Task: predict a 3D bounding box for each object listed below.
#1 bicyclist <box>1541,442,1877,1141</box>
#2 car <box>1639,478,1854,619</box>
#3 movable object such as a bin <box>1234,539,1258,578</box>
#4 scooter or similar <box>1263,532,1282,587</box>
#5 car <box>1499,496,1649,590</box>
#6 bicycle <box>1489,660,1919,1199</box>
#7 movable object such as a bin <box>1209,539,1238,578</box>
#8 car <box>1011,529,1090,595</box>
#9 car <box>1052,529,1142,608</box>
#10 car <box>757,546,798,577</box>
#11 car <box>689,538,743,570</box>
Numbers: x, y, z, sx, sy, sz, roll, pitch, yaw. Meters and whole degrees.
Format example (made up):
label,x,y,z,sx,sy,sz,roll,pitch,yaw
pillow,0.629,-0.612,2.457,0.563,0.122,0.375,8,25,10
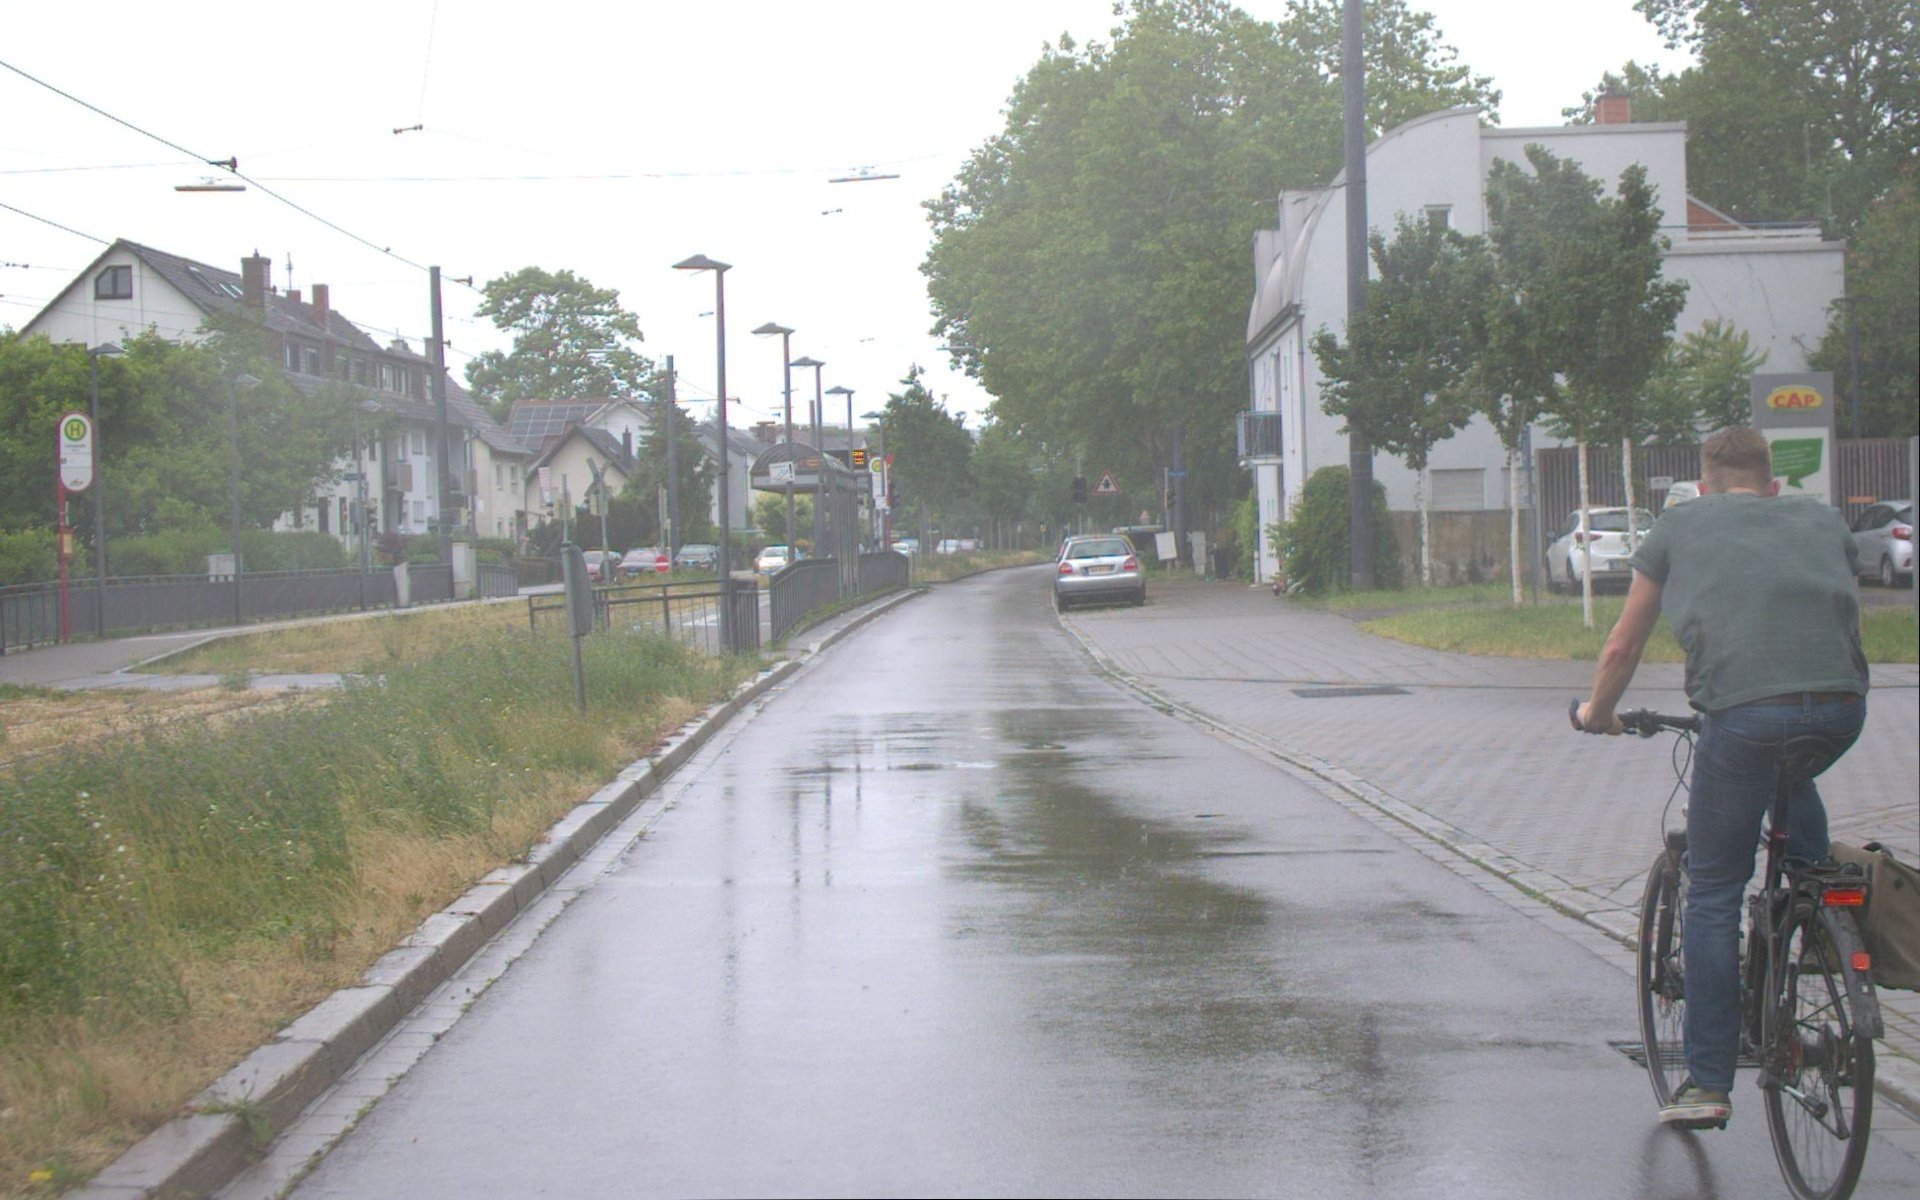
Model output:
label,x,y,z,sx,sy,sz,roll,pitch,yaw
bicyclist,1.742,0.424,8.073,0.534,1.554,0.773,0,0,-7
car,10.482,-0.730,46.156,1.963,1.778,4.897,0,2,3
movable object such as a bin,7.809,-1.133,93.971,0.536,1.018,0.739,-4,0,1
scooter or similar,6.196,-0.793,68.094,0.333,1.081,1.395,0,0,6
car,10.415,-1.003,58.612,1.963,1.529,4.363,0,2,3
bicycle,1.752,0.709,8.012,0.536,1.089,1.949,0,0,-6
movable object such as a bin,7.254,-1.136,94.712,0.692,1.018,0.824,-4,0,1
car,2.246,-0.926,85.374,1.807,1.462,3.794,-5,0,2
car,2.745,-0.626,69.371,1.650,1.400,4.649,-5,0,2
car,-8.846,-1.850,166.958,1.633,1.488,4.000,0,0,2
car,-11.402,-2.133,160.698,1.929,1.481,3.999,0,0,5
